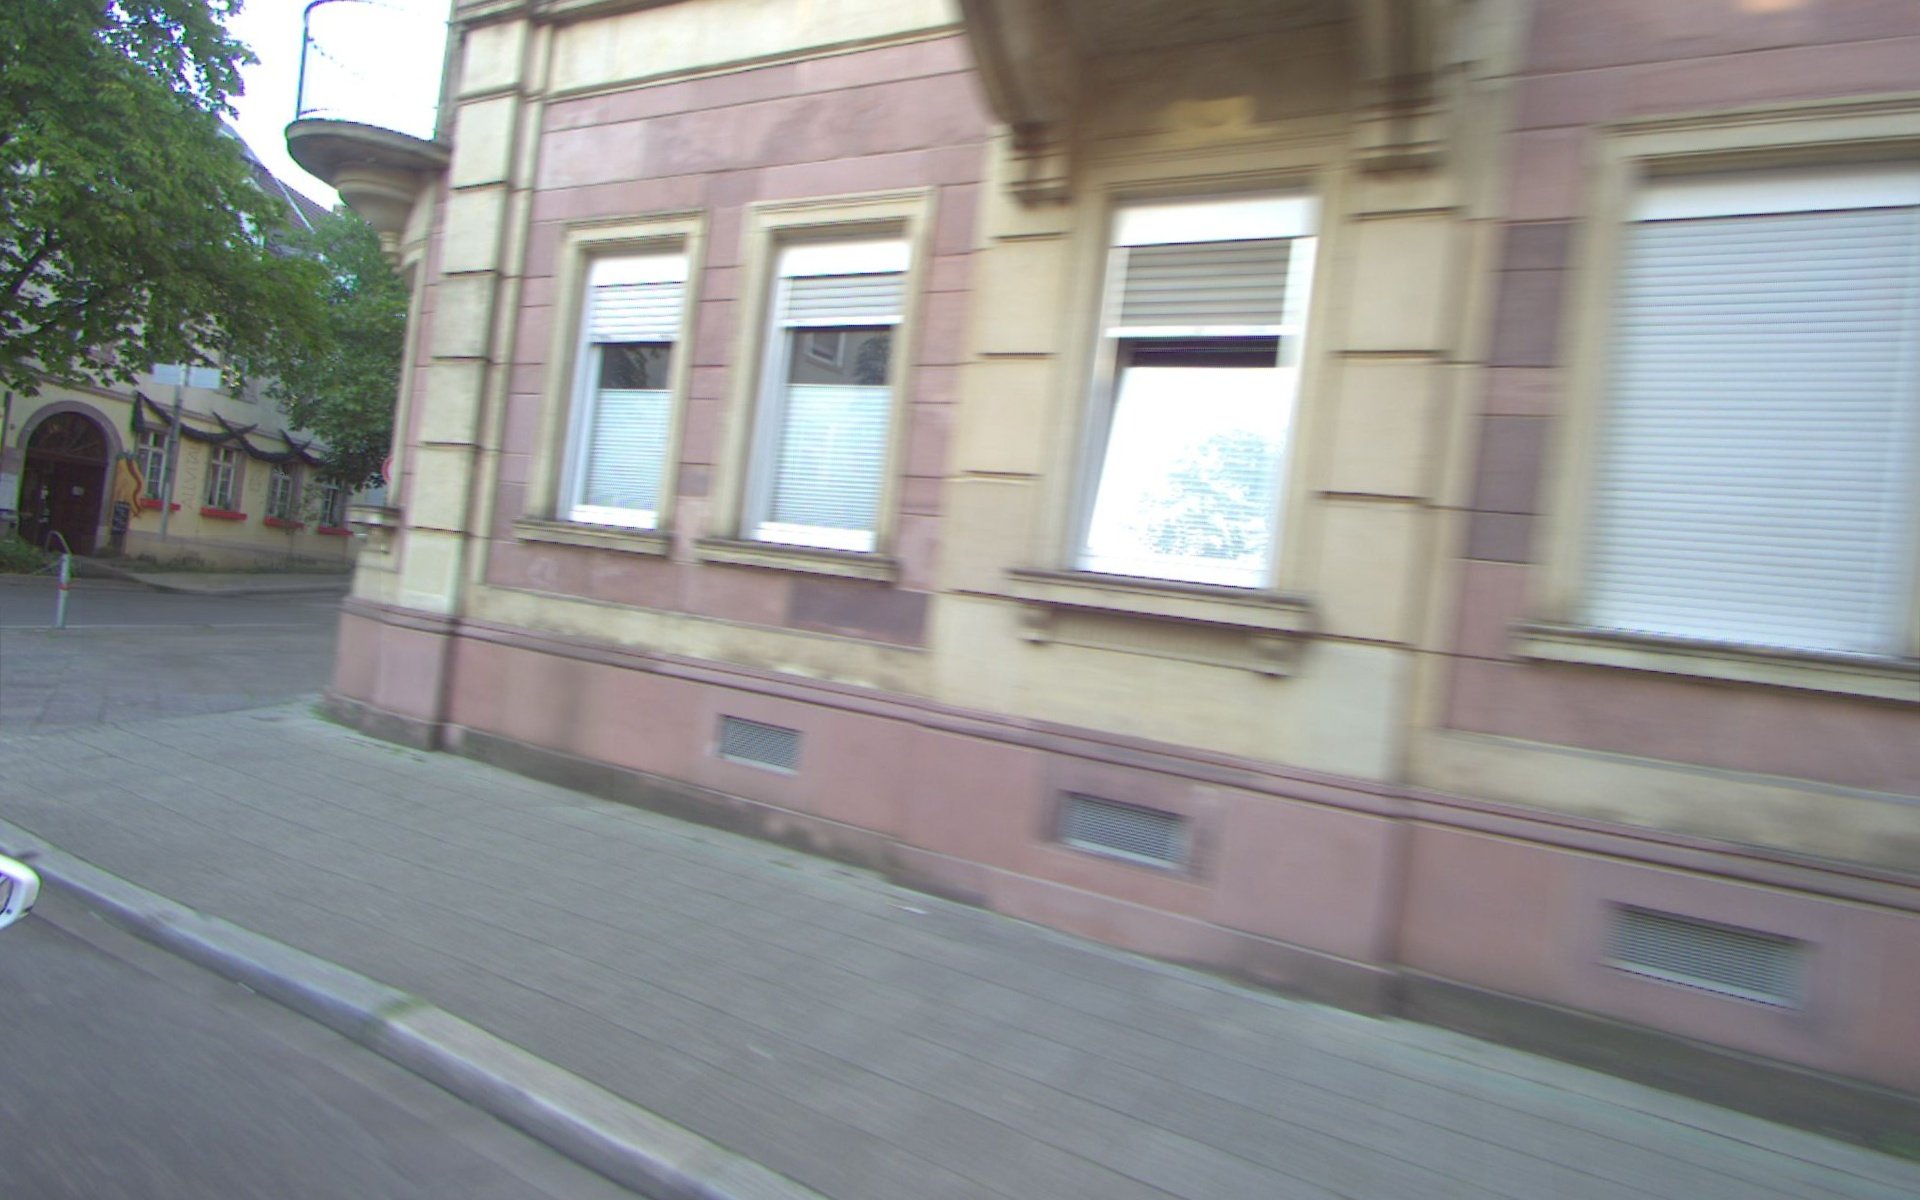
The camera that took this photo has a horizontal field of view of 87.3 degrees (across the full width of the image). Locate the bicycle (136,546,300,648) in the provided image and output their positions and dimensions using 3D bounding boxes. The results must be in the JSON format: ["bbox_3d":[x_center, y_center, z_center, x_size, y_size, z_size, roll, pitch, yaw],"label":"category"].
[{"bbox_3d":[-8.888,-0.013,12.153,0.357,1.103,1.871,5,0,6],"label":"bicycle"}]

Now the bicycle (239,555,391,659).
[{"bbox_3d":[-7.563,0.096,11.903,0.357,1.103,1.871,5,0,6],"label":"bicycle"}]

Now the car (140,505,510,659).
[{"bbox_3d":[-9.488,-0.258,15.219,4.504,1.760,1.777,6,0,6],"label":"car"}]

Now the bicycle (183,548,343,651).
[{"bbox_3d":[-8.214,0.011,11.959,0.357,1.103,1.871,5,0,6],"label":"bicycle"}]

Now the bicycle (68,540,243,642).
[{"bbox_3d":[-9.563,-0.079,12.058,0.357,1.103,1.871,5,0,6],"label":"bicycle"}]
